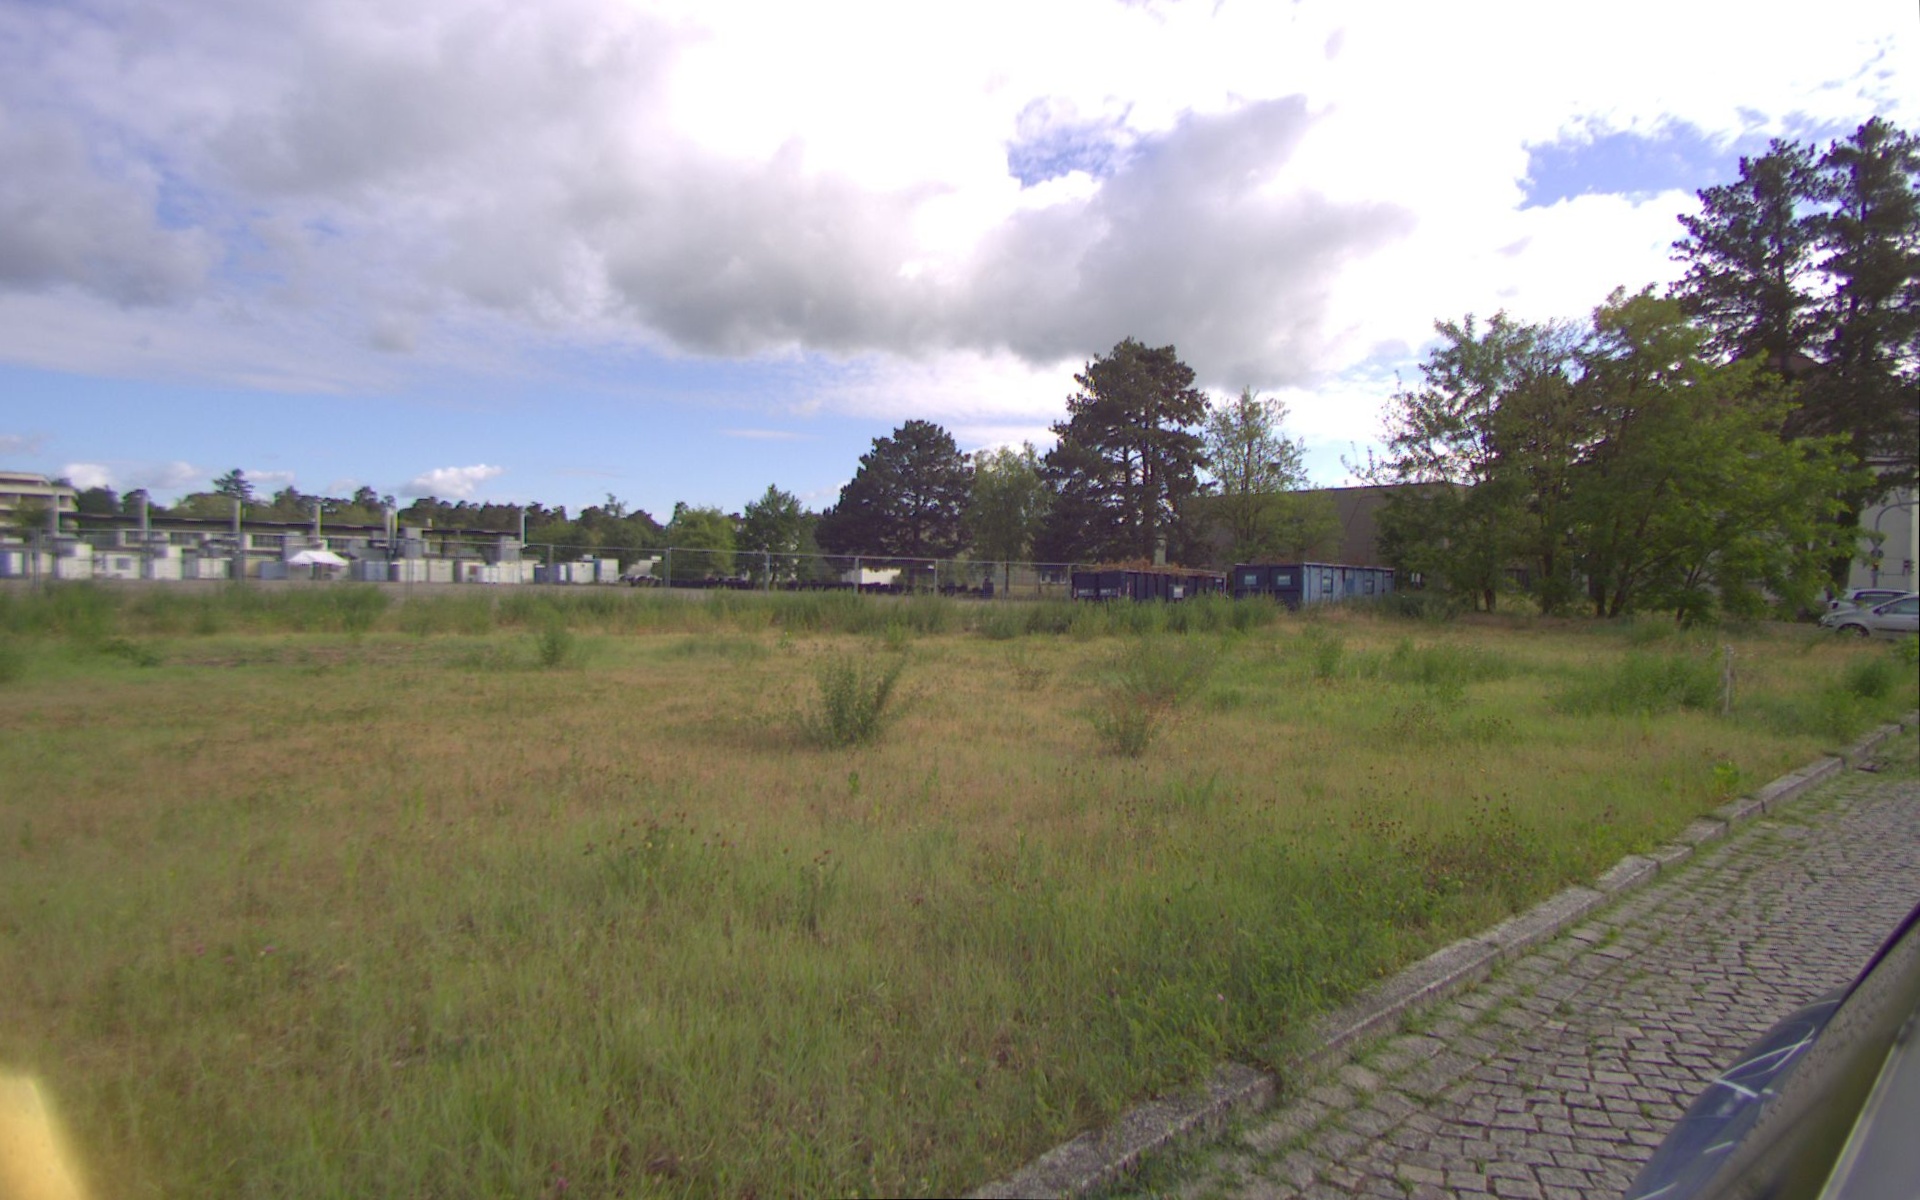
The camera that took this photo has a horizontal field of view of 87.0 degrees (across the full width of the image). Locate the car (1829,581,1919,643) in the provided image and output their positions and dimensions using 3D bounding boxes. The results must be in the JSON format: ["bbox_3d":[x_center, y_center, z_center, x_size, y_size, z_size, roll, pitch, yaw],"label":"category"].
[{"bbox_3d":[25.474,0.384,26.593,1.713,1.497,3.779,1,4,-42],"label":"car"}]

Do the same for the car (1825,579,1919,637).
[{"bbox_3d":[29.084,0.290,30.535,1.797,1.593,4.334,-1,5,-45],"label":"car"}]

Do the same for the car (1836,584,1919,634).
[{"bbox_3d":[31.010,0.355,32.178,1.796,1.442,4.558,-1,5,-43],"label":"car"}]

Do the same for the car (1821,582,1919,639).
[{"bbox_3d":[27.315,0.371,28.531,1.765,1.423,4.376,1,4,-41],"label":"car"}]
